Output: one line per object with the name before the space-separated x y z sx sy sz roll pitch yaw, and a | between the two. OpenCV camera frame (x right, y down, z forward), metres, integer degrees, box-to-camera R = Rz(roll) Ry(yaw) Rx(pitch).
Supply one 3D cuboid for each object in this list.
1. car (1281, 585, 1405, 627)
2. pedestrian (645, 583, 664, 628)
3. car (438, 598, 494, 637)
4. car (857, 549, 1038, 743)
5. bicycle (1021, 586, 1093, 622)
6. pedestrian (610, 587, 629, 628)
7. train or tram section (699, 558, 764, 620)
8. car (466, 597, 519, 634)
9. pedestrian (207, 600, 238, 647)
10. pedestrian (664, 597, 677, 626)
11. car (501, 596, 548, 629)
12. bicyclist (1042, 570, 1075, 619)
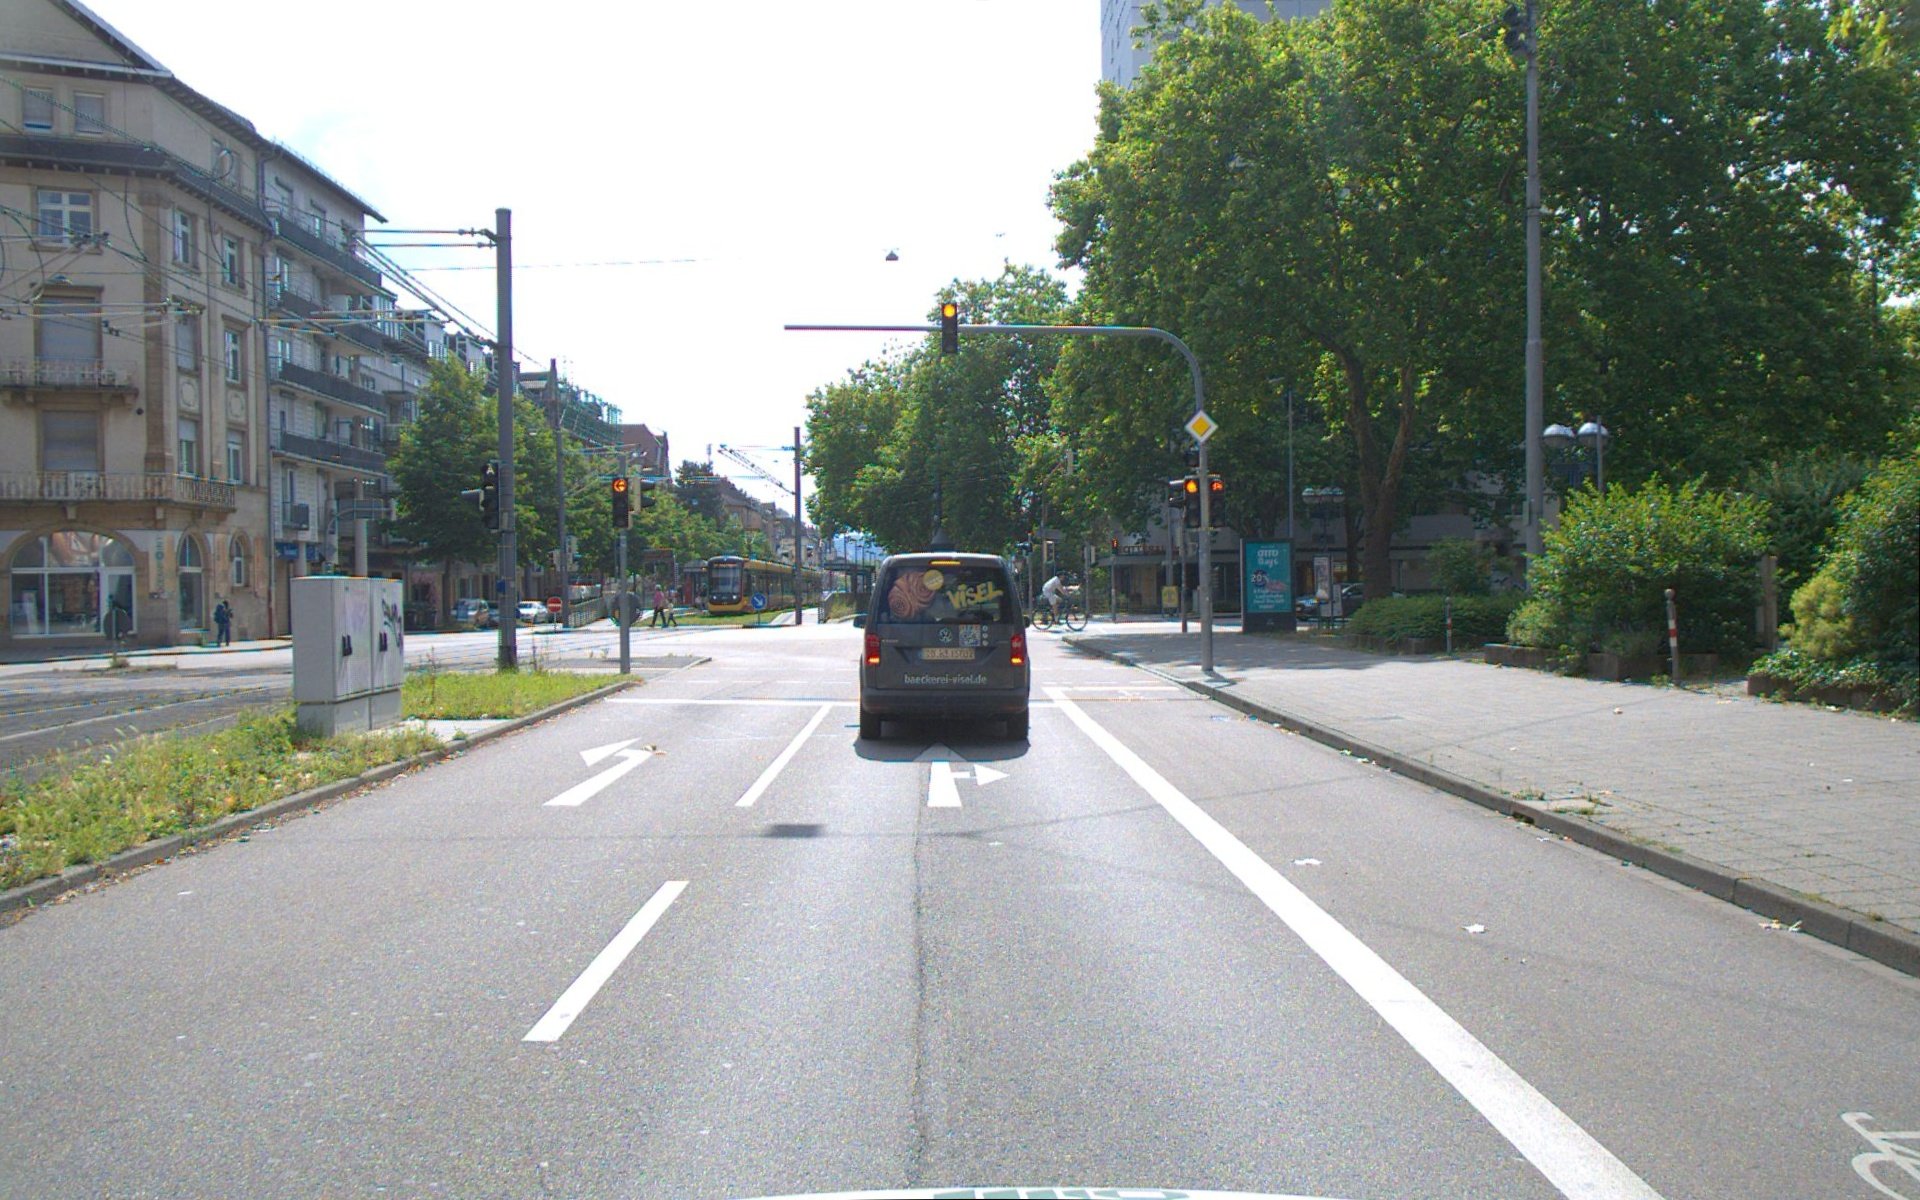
car | 14.246 0.203 61.511 4.424 1.414 1.693 -2 0 -25
pedestrian | -12.436 0.225 67.331 0.646 1.815 0.660 -1 0 -1
car | -27.703 0.946 92.932 1.953 2.049 3.999 -1 0 -1
car | -0.137 0.422 17.476 1.715 1.840 3.474 0 0 -1
bicycle | 3.113 0.120 53.263 2.254 1.066 0.897 -1 0 0
pedestrian | -14.301 0.317 69.463 0.646 1.714 0.655 -1 0 -1
train or tram section | -13.510 -0.672 98.816 2.195 3.389 12.969 -1 1 -1
car | -27.526 0.905 97.504 1.953 2.049 3.999 -1 0 -1
pedestrian | -25.619 0.808 57.476 0.678 1.623 0.861 -1 0 -5
pedestrian | -11.857 0.455 67.773 0.454 1.164 0.435 -1 0 -1
car | -27.861 0.779 106.005 1.953 2.049 3.999 -1 0 -1
bicyclist | 3.160 -0.184 53.302 0.977 1.538 0.780 -1 0 0
